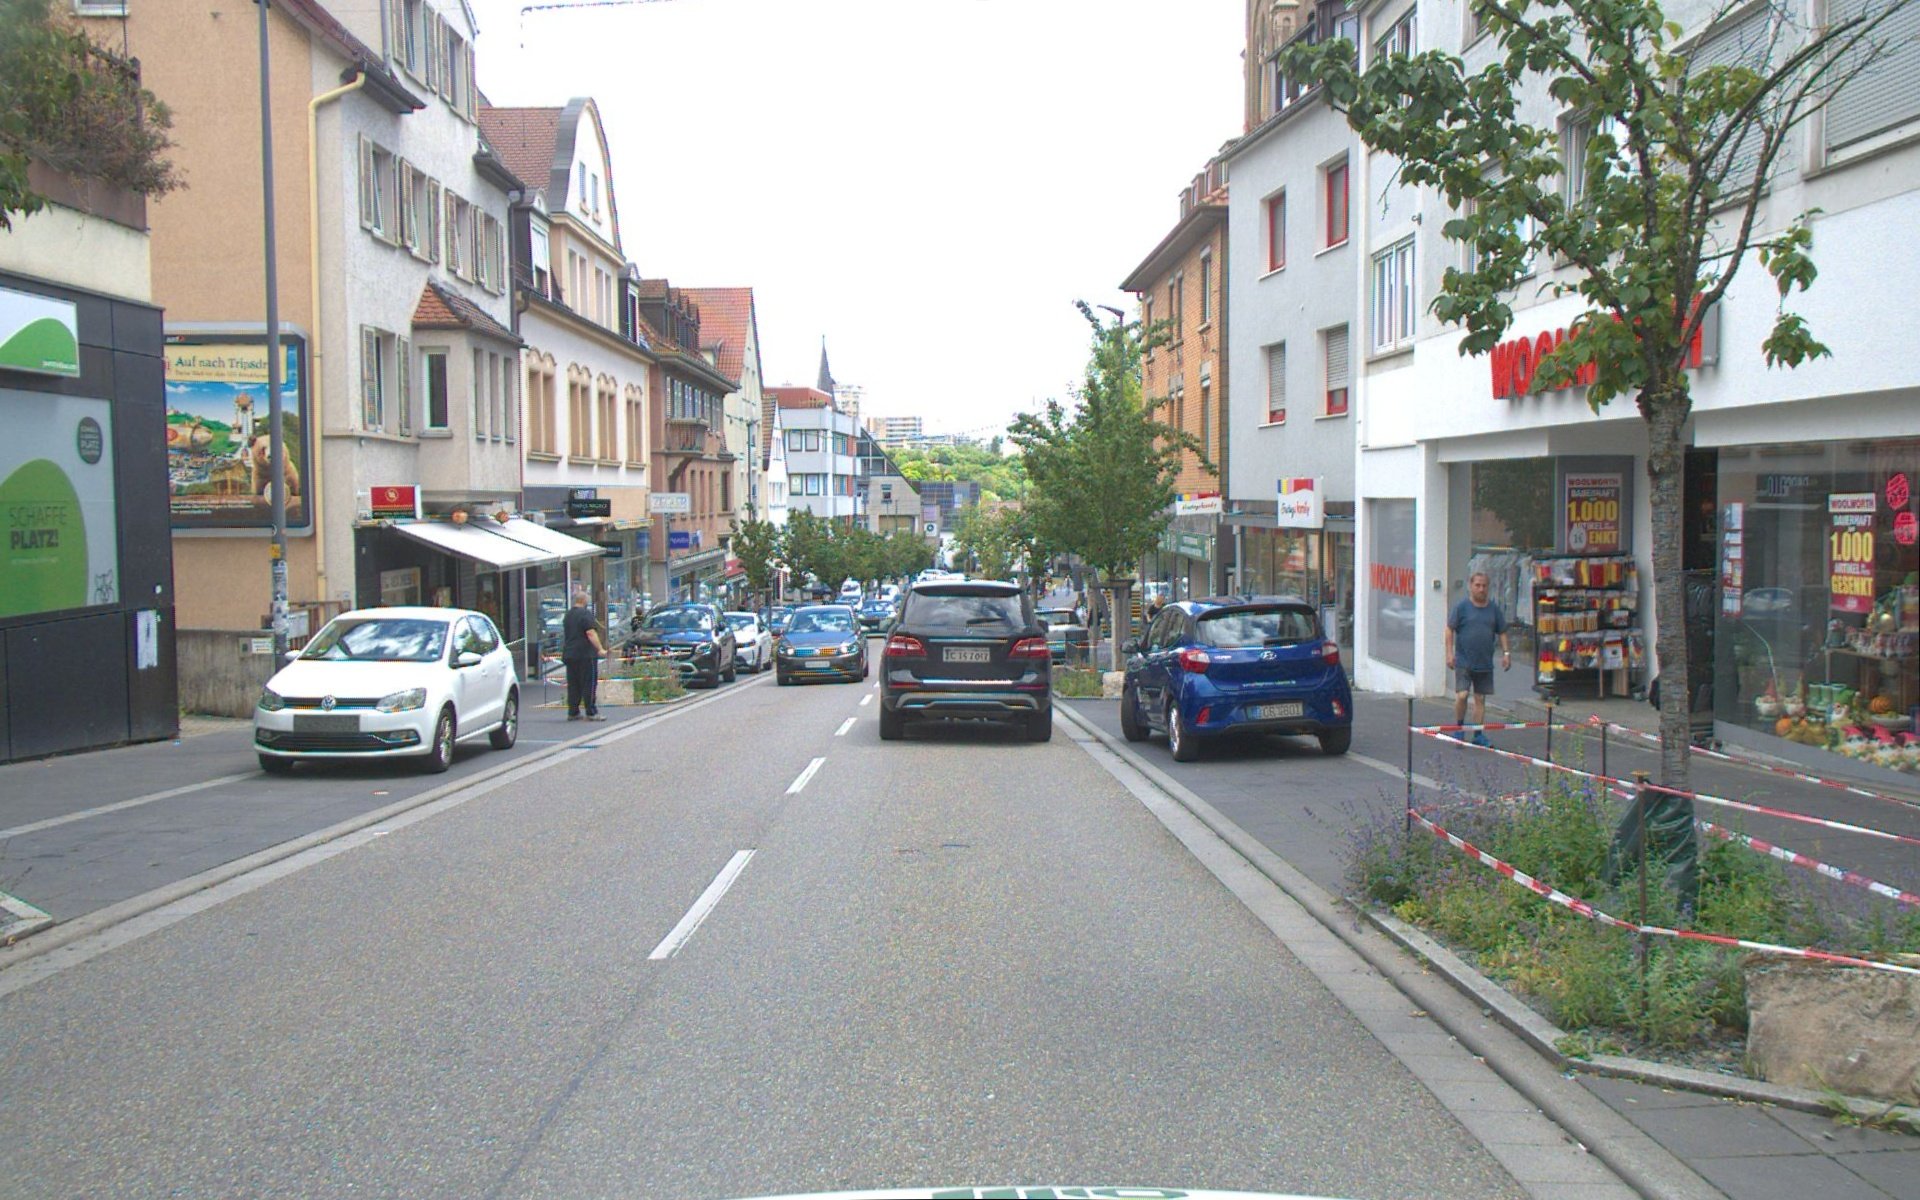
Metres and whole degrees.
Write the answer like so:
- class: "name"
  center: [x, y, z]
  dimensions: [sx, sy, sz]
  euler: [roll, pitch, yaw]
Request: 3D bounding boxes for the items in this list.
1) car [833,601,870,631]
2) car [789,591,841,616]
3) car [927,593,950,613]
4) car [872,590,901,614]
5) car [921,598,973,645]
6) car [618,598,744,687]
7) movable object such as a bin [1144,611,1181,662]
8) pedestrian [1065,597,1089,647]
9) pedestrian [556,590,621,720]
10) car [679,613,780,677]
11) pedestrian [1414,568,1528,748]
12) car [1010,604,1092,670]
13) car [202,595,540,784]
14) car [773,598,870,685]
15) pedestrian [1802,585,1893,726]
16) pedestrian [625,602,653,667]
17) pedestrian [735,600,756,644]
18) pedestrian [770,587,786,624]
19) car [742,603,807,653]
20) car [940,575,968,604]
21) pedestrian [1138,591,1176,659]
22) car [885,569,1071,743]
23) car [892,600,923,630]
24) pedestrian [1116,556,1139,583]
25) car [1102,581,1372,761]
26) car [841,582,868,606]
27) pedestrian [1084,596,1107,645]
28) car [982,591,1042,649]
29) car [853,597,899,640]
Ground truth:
- class: "car"
  center: [-6.244, 0.894, 95.300]
  dimensions: [1.887, 1.657, 4.261]
  euler: [0, 1, -1]
- class: "car"
  center: [-11.359, 0.269, 129.824]
  dimensions: [3.909, 1.780, 1.998]
  euler: [-3, 0, -5]
- class: "car"
  center: [-1.732, 0.207, 131.088]
  dimensions: [1.775, 1.534, 3.999]
  euler: [-1, 0, -2]
- class: "car"
  center: [-5.300, 0.116, 119.613]
  dimensions: [1.887, 1.657, 4.261]
  euler: [2, 1, -1]
- class: "car"
  center: [-0.497, 0.802, 63.332]
  dimensions: [1.887, 1.657, 4.261]
  euler: [2, 1, -1]
- class: "car"
  center: [-5.563, 0.810, 33.483]
  dimensions: [1.888, 1.650, 4.637]
  euler: [1, 0, -2]
- class: "movable object such as a bin"
  center: [4.887, 0.868, 39.905]
  dimensions: [0.707, 1.178, 0.906]
  euler: [-3, 0, -2]
- class: "pedestrian"
  center: [4.013, 0.746, 56.858]
  dimensions: [0.658, 1.661, 0.669]
  euler: [-2, 0, -3]
- class: "pedestrian"
  center: [-4.983, 0.725, 22.235]
  dimensions: [0.722, 1.701, 0.862]
  euler: [0, 0, -4]
- class: "car"
  center: [-5.665, 1.076, 41.157]
  dimensions: [1.887, 1.455, 4.262]
  euler: [0, 0, 0]
- class: "pedestrian"
  center: [4.693, 0.515, 15.220]
  dimensions: [0.741, 1.588, 0.817]
  euler: [-1, 0, -4]
- class: "car"
  center: [2.343, 0.924, 43.443]
  dimensions: [1.713, 1.491, 4.073]
  euler: [-4, 1, -2]
- class: "car"
  center: [-5.572, 0.760, 16.276]
  dimensions: [1.888, 1.537, 4.260]
  euler: [1, 1, -2]
- class: "car"
  center: [-2.837, 0.839, 34.714]
  dimensions: [1.782, 1.646, 4.134]
  euler: [-2, 0, -2]
- class: "pedestrian"
  center: [8.346, 0.511, 15.562]
  dimensions: [0.494, 1.288, 0.587]
  euler: [-1, 0, -6]
- class: "pedestrian"
  center: [-8.103, 0.858, 41.780]
  dimensions: [0.536, 1.603, 0.863]
  euler: [-1, 0, -2]
- class: "pedestrian"
  center: [-8.247, 0.838, 63.570]
  dimensions: [0.712, 1.697, 0.720]
  euler: [0, 0, -2]
- class: "pedestrian"
  center: [-8.338, 0.259, 75.812]
  dimensions: [0.628, 1.697, 0.720]
  euler: [0, 0, -2]
- class: "car"
  center: [-6.083, 0.882, 54.655]
  dimensions: [1.888, 1.523, 4.259]
  euler: [-1, 0, -4]
- class: "car"
  center: [-0.540, -0.982, 149.662]
  dimensions: [2.128, 2.405, 4.625]
  euler: [-4, 0, 3]
- class: "pedestrian"
  center: [4.860, 0.607, 40.815]
  dimensions: [0.720, 1.612, 1.000]
  euler: [-3, 0, -2]
- class: "car"
  center: [0.172, 0.569, 19.192]
  dimensions: [1.904, 1.770, 4.178]
  euler: [1, 0, -1]
- class: "car"
  center: [-3.079, 0.884, 97.837]
  dimensions: [1.729, 1.645, 4.031]
  euler: [-2, 1, -2]
- class: "pedestrian"
  center: [7.873, -1.436, 77.818]
  dimensions: [0.970, 1.252, 0.984]
  euler: [0, -1, 1]
- class: "car"
  center: [2.657, 0.670, 16.768]
  dimensions: [1.715, 1.524, 3.795]
  euler: [-3, -1, -6]
- class: "car"
  center: [-7.799, -0.466, 122.540]
  dimensions: [1.888, 1.657, 4.412]
  euler: [2, 1, -3]
- class: "pedestrian"
  center: [4.680, 0.714, 57.061]
  dimensions: [0.658, 1.661, 0.669]
  euler: [-2, 0, -3]
- class: "car"
  center: [1.863, 0.701, 60.820]
  dimensions: [1.899, 1.924, 4.705]
  euler: [-3, 1, -1]
- class: "car"
  center: [-3.829, 0.821, 76.158]
  dimensions: [1.952, 1.747, 4.445]
  euler: [-4, 0, -2]
